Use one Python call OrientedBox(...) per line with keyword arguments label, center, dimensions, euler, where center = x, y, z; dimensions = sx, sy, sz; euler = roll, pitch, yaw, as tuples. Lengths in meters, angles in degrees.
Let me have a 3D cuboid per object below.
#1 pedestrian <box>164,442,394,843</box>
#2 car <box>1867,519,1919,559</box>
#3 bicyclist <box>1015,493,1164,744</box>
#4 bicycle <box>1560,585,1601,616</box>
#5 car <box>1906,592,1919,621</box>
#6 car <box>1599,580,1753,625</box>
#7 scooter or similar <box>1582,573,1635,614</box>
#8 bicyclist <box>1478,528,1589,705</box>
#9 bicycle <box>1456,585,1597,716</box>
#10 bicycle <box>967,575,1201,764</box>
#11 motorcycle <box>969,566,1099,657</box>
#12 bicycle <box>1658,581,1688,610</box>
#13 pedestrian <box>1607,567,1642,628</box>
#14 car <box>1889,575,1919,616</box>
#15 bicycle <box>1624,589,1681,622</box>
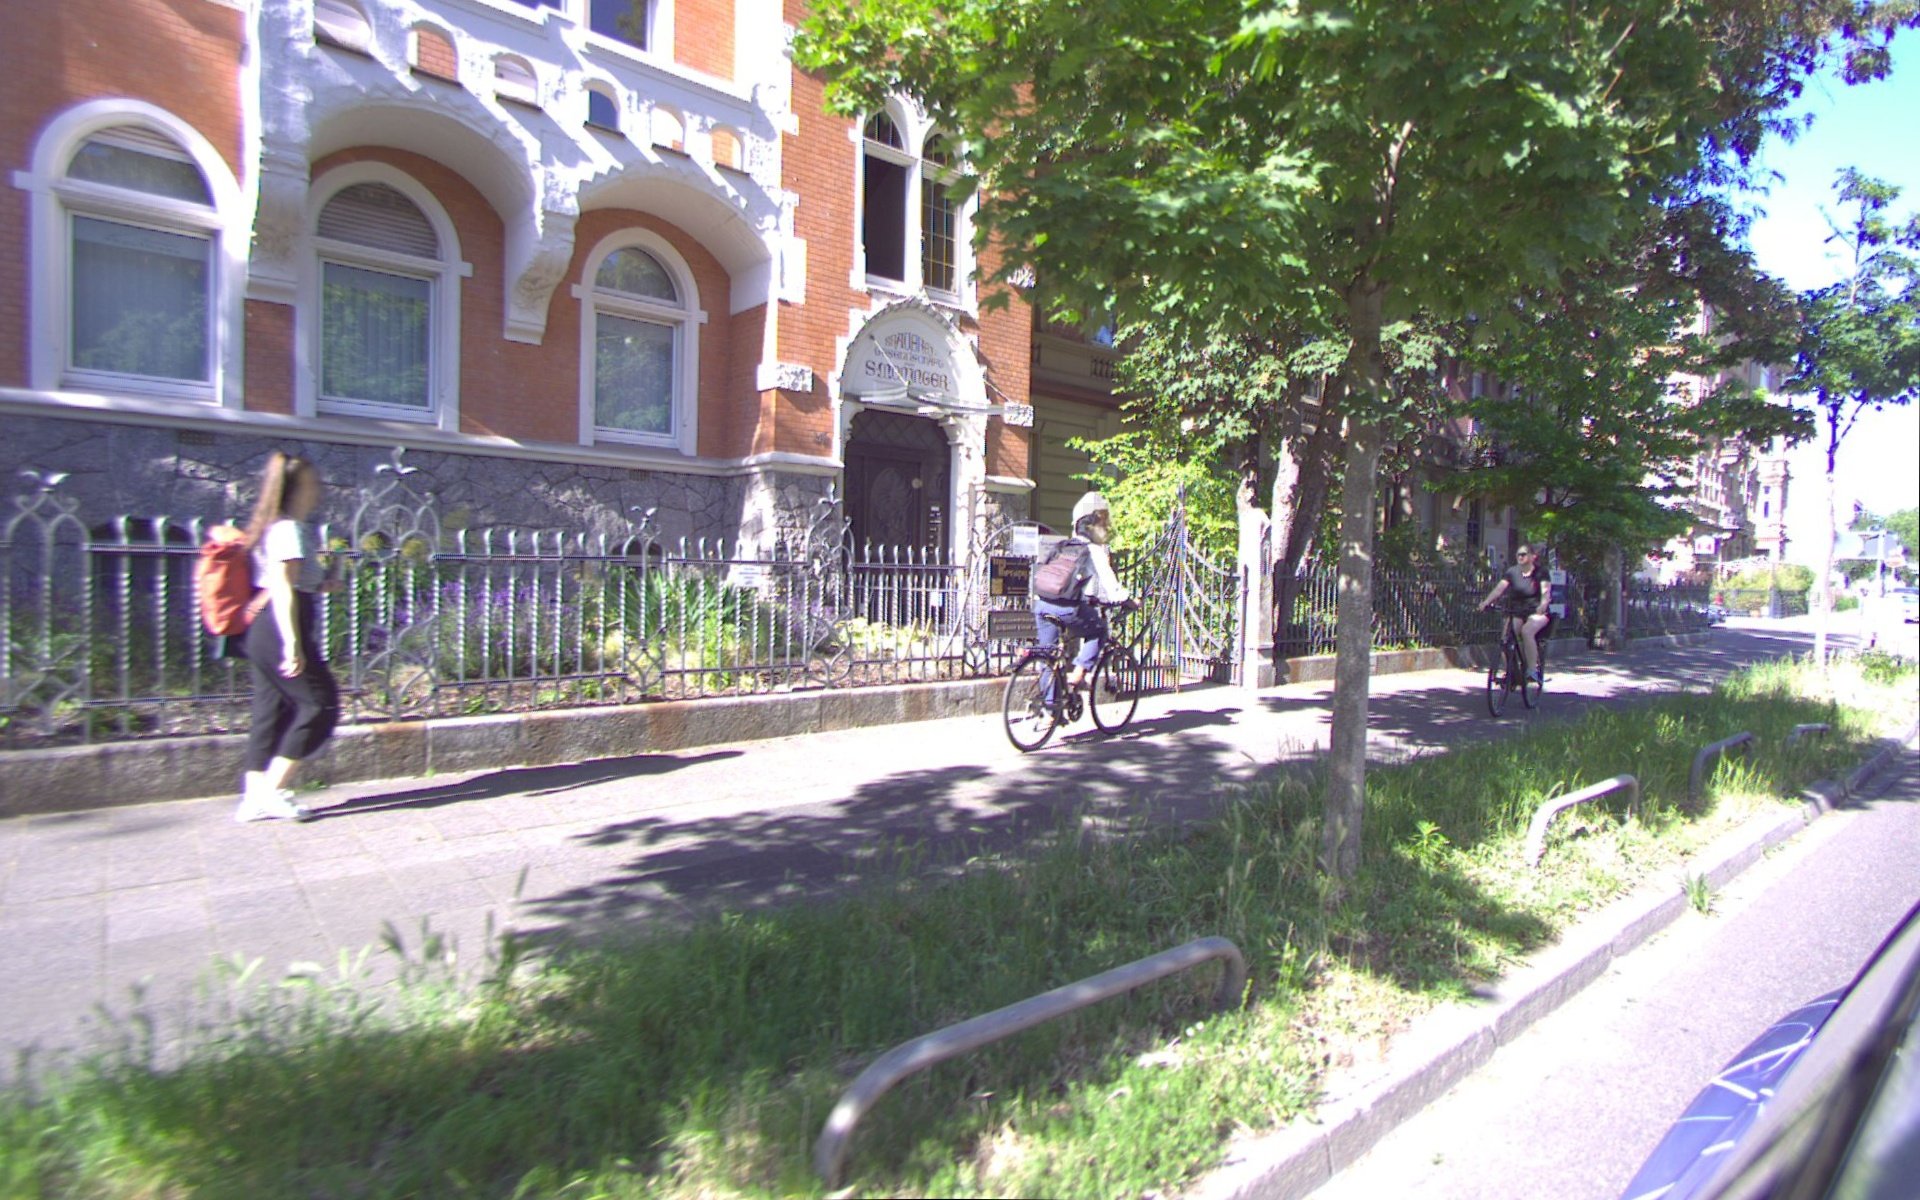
OrientedBox(label="pedestrian", center=(-3.189, 0.148, 4.743), dimensions=(0.806, 1.678, 0.696), euler=(-1, 5, -41))
OrientedBox(label="car", center=(39.611, -2.539, 42.578), dimensions=(4.039, 1.458, 1.844), euler=(0, 5, -45))
OrientedBox(label="bicyclist", center=(0.948, 0.105, 7.417), dimensions=(0.807, 1.710, 0.621), euler=(0, 5, -44))
OrientedBox(label="bicycle", center=(23.792, 0.027, 38.785), dimensions=(1.981, 1.148, 0.585), euler=(1, 1, -36))
OrientedBox(label="car", center=(60.828, 0.396, 63.397), dimensions=(4.619, 1.709, 1.891), euler=(0, 1, -42))
OrientedBox(label="car", center=(27.498, 0.056, 38.979), dimensions=(2.010, 1.434, 4.418), euler=(0, 3, -39))
OrientedBox(label="scooter or similar", center=(20.973, -0.218, 32.739), dimensions=(1.380, 1.278, 0.762), euler=(0, 3, -25))
OrientedBox(label="bicyclist", center=(5.920, 0.148, 10.447), dimensions=(0.874, 1.715, 0.646), euler=(0, 4, -43))
OrientedBox(label="bicycle", center=(5.856, 0.474, 10.422), dimensions=(1.811, 1.190, 0.654), euler=(0, 5, -42))
OrientedBox(label="bicycle", center=(0.963, 0.444, 7.468), dimensions=(1.888, 1.190, 0.616), euler=(0, 5, -45))
OrientedBox(label="motorcycle", center=(0.943, 0.112, 13.477), dimensions=(0.766, 1.044, 1.884), euler=(-1, 4, -32))
OrientedBox(label="bicycle", center=(30.586, -0.223, 43.429), dimensions=(0.734, 1.148, 1.987), euler=(2, 4, 44))
OrientedBox(label="pedestrian", center=(21.367, -0.102, 32.535), dimensions=(0.684, 1.916, 0.763), euler=(1, 1, 15))
OrientedBox(label="car", center=(46.518, -0.208, 49.247), dimensions=(3.503, 1.896, 1.691), euler=(0, 3, -45))
OrientedBox(label="bicycle", center=(25.430, 0.178, 37.212), dimensions=(0.573, 1.149, 2.020), euler=(3, 0, -3))
